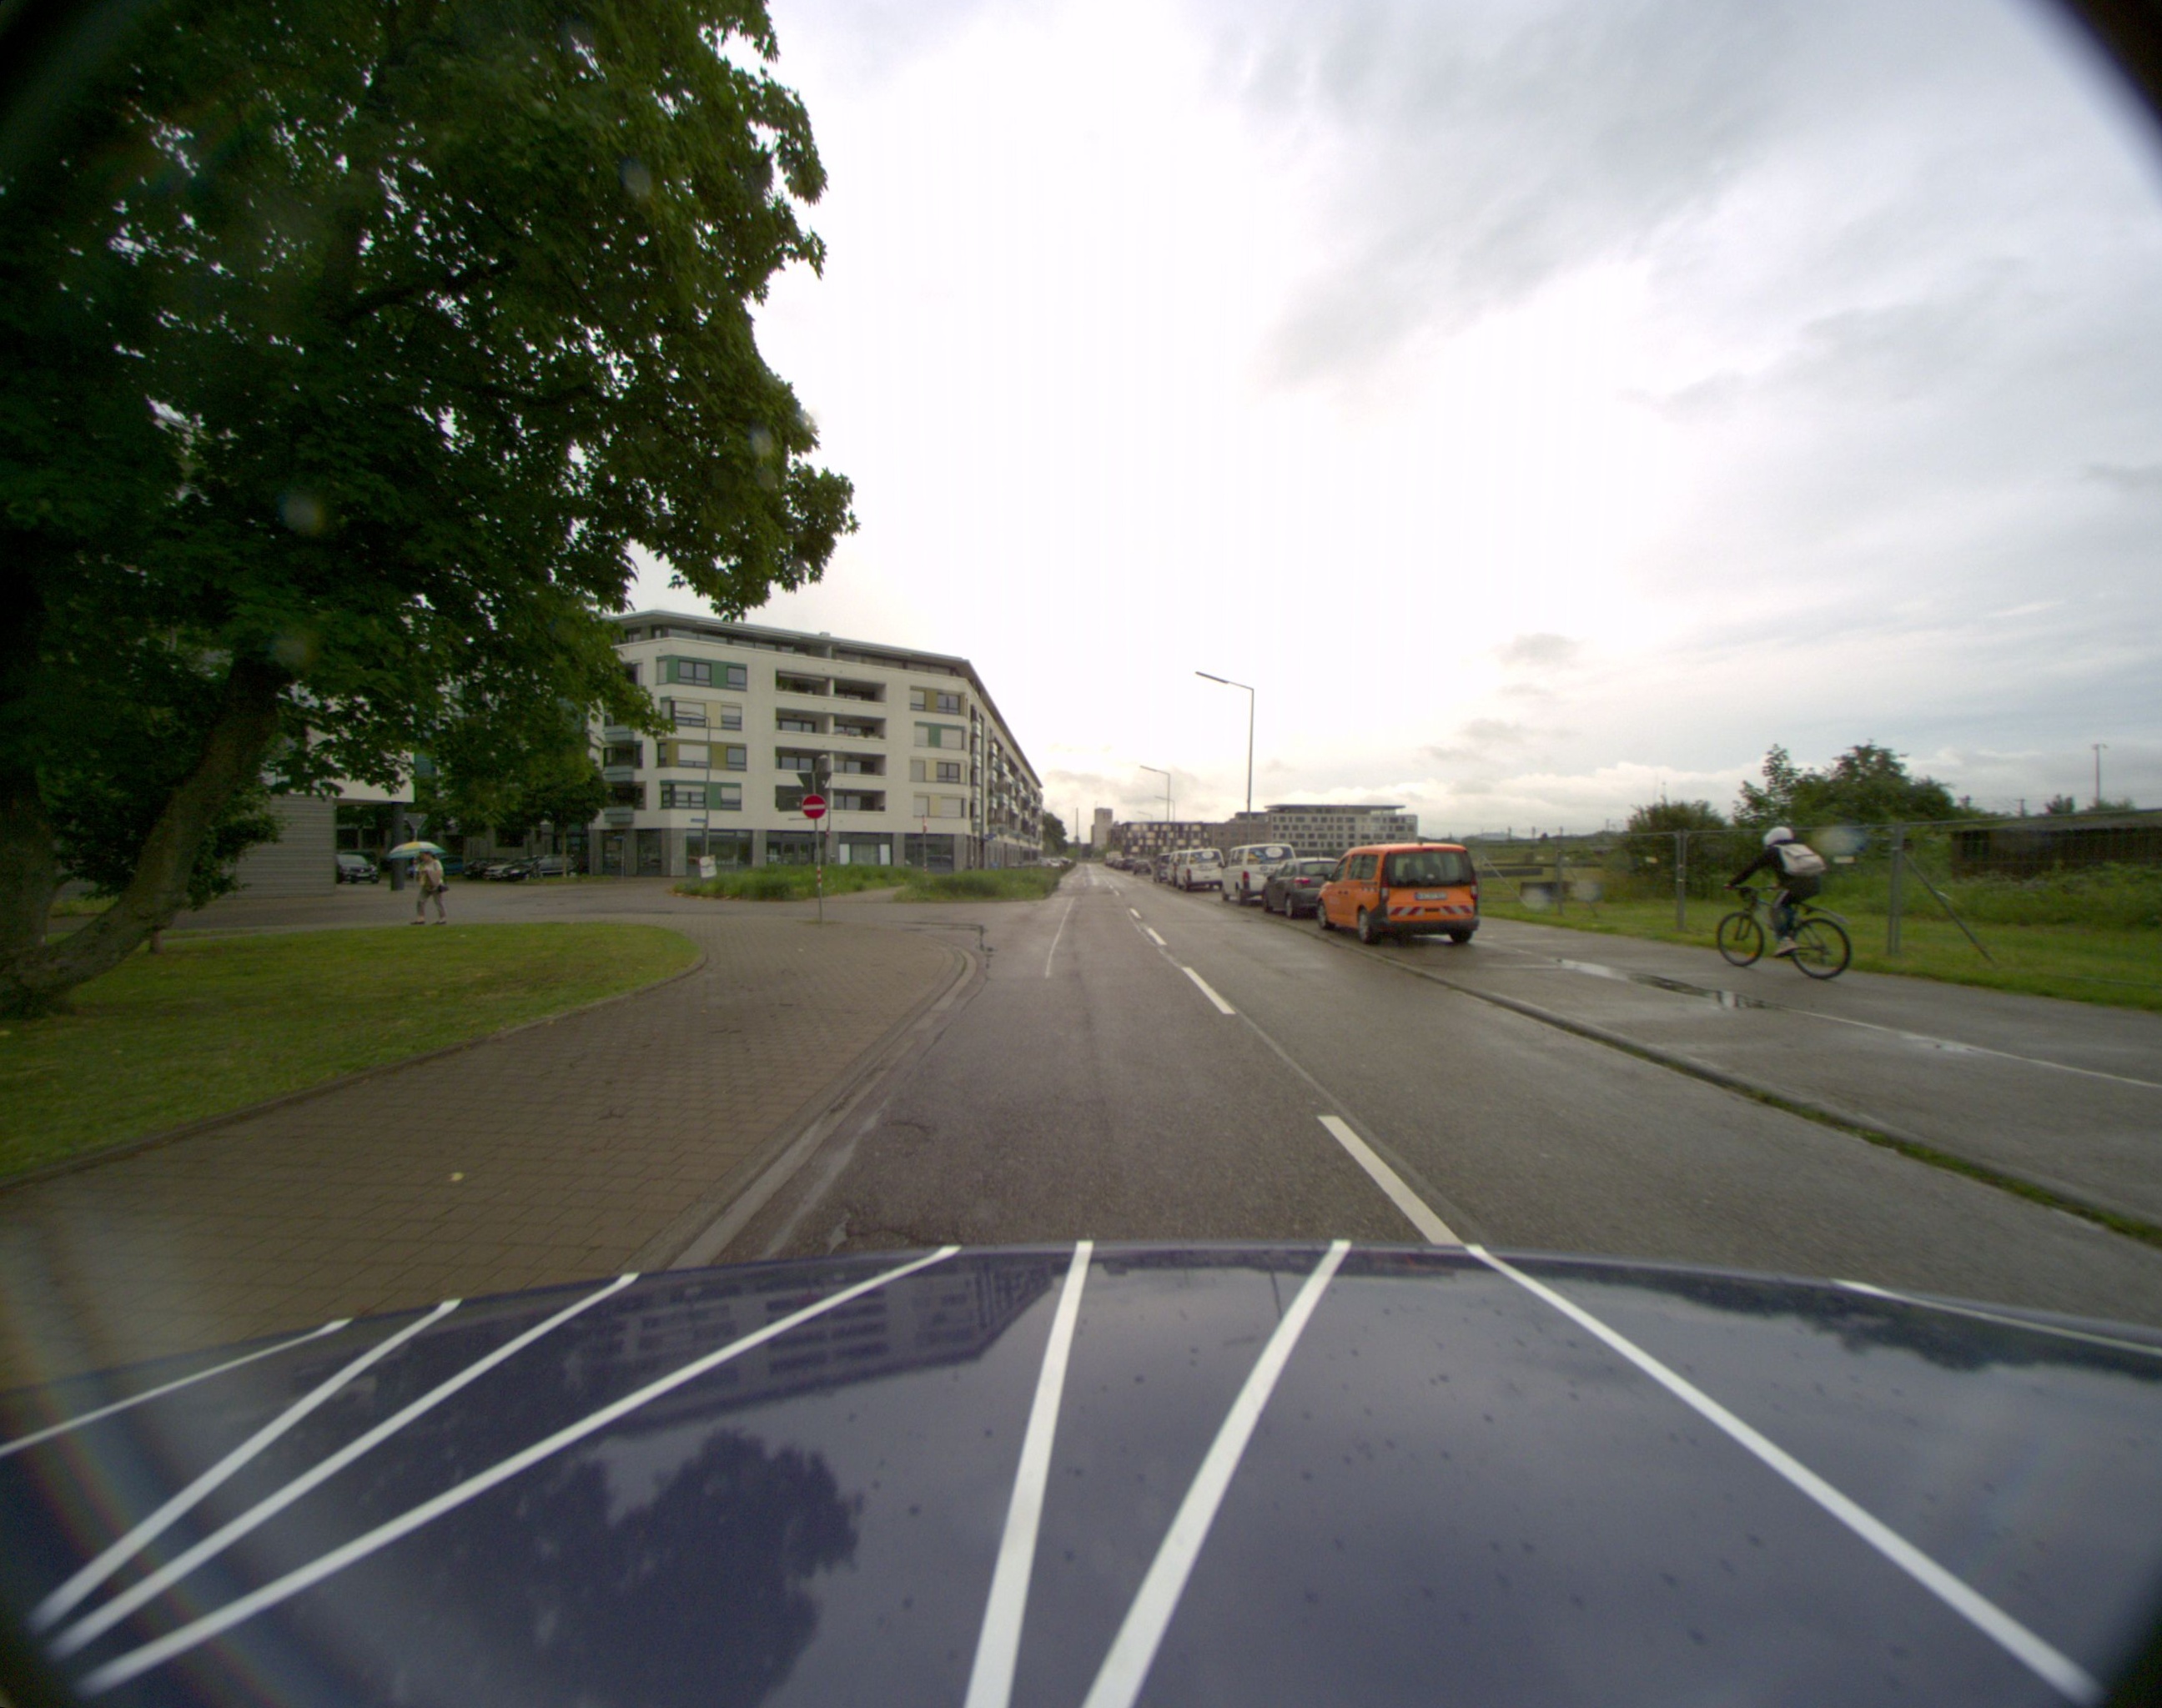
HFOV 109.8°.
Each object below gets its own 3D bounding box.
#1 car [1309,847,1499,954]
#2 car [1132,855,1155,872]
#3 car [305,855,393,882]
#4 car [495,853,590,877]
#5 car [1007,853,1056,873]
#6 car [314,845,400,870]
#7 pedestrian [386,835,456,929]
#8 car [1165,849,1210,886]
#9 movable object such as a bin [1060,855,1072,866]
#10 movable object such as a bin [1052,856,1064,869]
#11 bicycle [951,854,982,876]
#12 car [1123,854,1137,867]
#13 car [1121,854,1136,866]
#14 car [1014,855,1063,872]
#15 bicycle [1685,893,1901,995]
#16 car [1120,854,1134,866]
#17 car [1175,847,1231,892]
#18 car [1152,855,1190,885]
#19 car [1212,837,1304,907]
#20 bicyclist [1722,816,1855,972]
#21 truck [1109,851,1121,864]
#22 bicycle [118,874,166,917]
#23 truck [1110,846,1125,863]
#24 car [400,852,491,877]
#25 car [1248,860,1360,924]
[{"bbox_3d":[5.921,0.757,14.581,1.944,1.757,4.331,0,0,2],"label":"car"},{"bbox_3d":[6.196,0.927,75.681,1.852,1.552,4.152,-3,0,1],"label":"car"},{"bbox_3d":[-38.632,0.742,40.126,3.817,1.407,2.003,0,0,23],"label":"car"},{"bbox_3d":[-33.738,0.652,47.753,1.809,1.424,4.531,0,0,23],"label":"car"},{"bbox_3d":[-4.260,0.761,66.409,4.100,1.614,1.966,2,1,-1],"label":"car"},{"bbox_3d":[-52.206,0.247,54.860,1.809,1.744,4.110,0,0,23],"label":"car"},{"bbox_3d":[-14.314,0.596,16.494,0.967,2.002,0.622,0,0,1],"label":"pedestrian"},{"bbox_3d":[6.060,0.712,43.748,1.899,2.002,5.258,0,0,1],"label":"car"},{"bbox_3d":[-2.013,0.900,103.165,1.499,1.484,1.155,3,0,1],"label":"movable object such as a bin"},{"bbox_3d":[-2.636,0.978,86.943,1.303,1.517,1.582,0,0,1],"label":"movable object such as a bin"},{"bbox_3d":[-8.458,0.801,56.213,2.189,1.514,0.631,1,1,21],"label":"bicycle"},{"bbox_3d":[6.237,0.799,97.272,1.756,1.683,4.882,0,0,3],"label":"car"},{"bbox_3d":[6.423,0.808,102.799,1.757,1.581,4.133,0,0,1],"label":"car"},{"bbox_3d":[-3.986,0.913,71.325,4.420,1.397,1.910,2,0,0],"label":"car"},{"bbox_3d":[8.781,1.057,9.531,0.718,1.036,2.144,-1,0,1],"label":"bicycle"},{"bbox_3d":[6.531,0.871,108.585,1.730,1.566,4.210,0,1,-1],"label":"car"},{"bbox_3d":[5.926,0.711,37.578,1.964,2.046,5.274,-1,0,1],"label":"car"},{"bbox_3d":[5.984,1.016,50.944,1.961,1.890,4.995,-1,0,1],"label":"car"},{"bbox_3d":[6.090,0.582,26.839,1.947,2.223,5.557,0,0,0],"label":"car"},{"bbox_3d":[8.771,0.474,9.465,0.700,1.819,1.008,-1,0,1],"label":"bicyclist"},{"bbox_3d":[7.211,0.683,161.850,2.180,2.591,6.131,-1,0,0],"label":"truck"},{"bbox_3d":[-26.086,1.117,21.129,2.477,1.081,0.727,0,0,42],"label":"bicycle"},{"bbox_3d":[6.719,0.068,141.669,2.442,3.050,6.700,-1,0,0],"label":"truck"},{"bbox_3d":[-42.911,0.674,51.397,1.736,1.641,4.358,0,0,28],"label":"car"},{"bbox_3d":[5.973,0.945,20.949,1.688,1.493,4.892,0,0,0],"label":"car"}]
